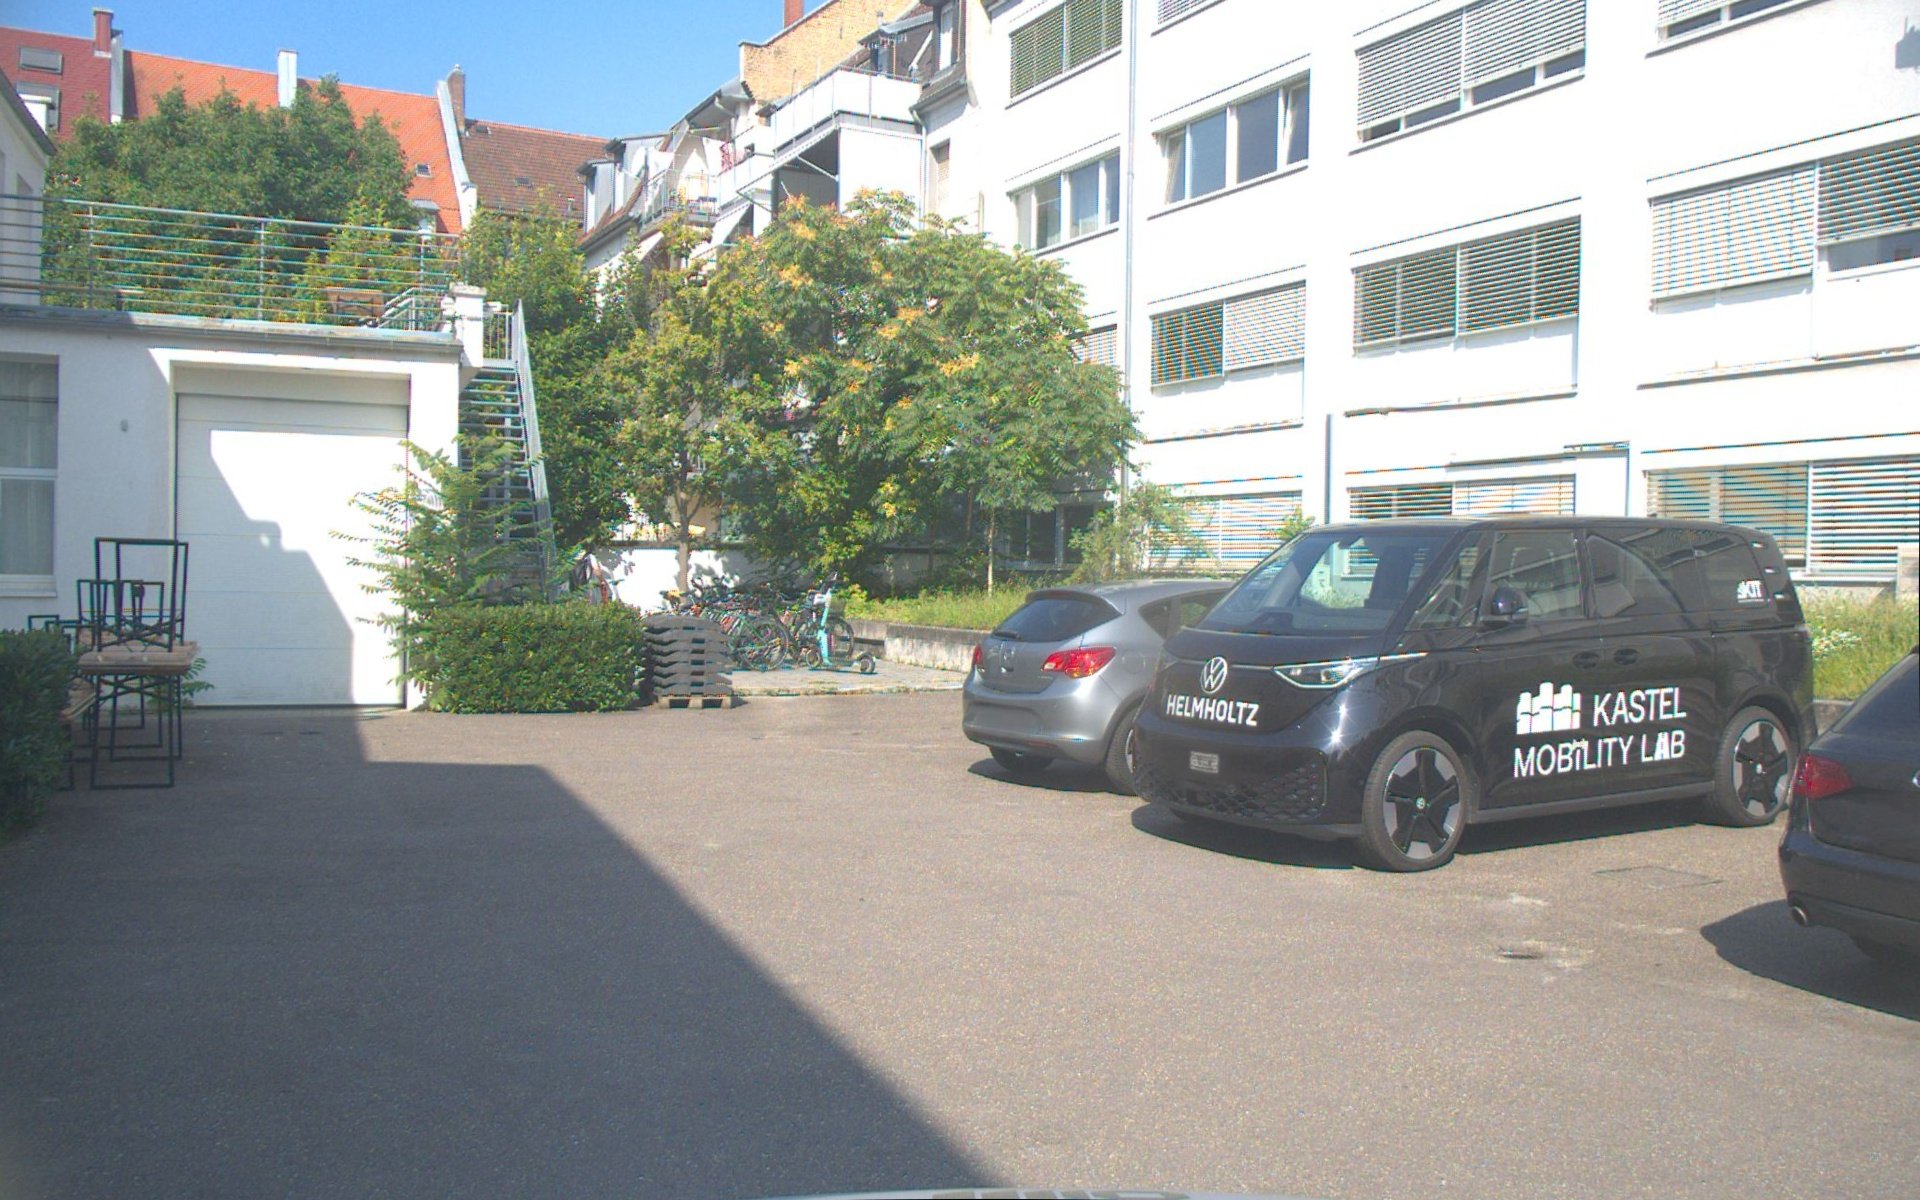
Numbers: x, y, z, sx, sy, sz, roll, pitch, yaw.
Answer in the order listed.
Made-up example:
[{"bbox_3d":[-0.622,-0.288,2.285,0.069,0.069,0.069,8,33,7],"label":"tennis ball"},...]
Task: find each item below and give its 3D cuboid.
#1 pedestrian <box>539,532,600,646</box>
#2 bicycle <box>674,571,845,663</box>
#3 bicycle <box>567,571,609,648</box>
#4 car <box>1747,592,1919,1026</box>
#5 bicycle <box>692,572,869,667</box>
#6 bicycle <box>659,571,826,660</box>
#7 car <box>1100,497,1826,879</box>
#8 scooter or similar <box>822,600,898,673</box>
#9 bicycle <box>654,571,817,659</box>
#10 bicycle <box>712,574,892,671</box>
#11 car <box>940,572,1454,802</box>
[{"bbox_3d":[-6.303,-0.184,26.742,0.842,1.802,0.610,1,1,-7],"label":"pedestrian"},{"bbox_3d":[-2.875,0.257,23.843,2.377,1.268,0.523,1,1,-22],"label":"bicycle"},{"bbox_3d":[-5.993,0.127,26.700,0.479,1.163,1.991,0,2,-7],"label":"bicycle"},{"bbox_3d":[5.236,0.725,6.358,4.176,1.462,1.678,0,2,-24],"label":"car"},{"bbox_3d":[-2.495,0.275,23.099,2.377,1.268,0.523,1,1,-22],"label":"bicycle"},{"bbox_3d":[-3.204,0.234,24.425,2.377,1.268,0.523,1,1,-22],"label":"bicycle"},{"bbox_3d":[3.144,0.400,10.122,4.292,1.891,1.895,0,2,-32],"label":"car"},{"bbox_3d":[-1.350,0.486,22.362,0.978,0.940,0.359,2,1,31],"label":"scooter or similar"},{"bbox_3d":[-3.388,0.233,25.018,2.377,1.268,0.523,1,1,-22],"label":"bicycle"},{"bbox_3d":[-2.138,0.312,22.513,2.377,1.268,0.523,1,1,-22],"label":"bicycle"},{"bbox_3d":[1.889,0.551,12.709,3.864,1.491,1.643,0,2,-35],"label":"car"}]
